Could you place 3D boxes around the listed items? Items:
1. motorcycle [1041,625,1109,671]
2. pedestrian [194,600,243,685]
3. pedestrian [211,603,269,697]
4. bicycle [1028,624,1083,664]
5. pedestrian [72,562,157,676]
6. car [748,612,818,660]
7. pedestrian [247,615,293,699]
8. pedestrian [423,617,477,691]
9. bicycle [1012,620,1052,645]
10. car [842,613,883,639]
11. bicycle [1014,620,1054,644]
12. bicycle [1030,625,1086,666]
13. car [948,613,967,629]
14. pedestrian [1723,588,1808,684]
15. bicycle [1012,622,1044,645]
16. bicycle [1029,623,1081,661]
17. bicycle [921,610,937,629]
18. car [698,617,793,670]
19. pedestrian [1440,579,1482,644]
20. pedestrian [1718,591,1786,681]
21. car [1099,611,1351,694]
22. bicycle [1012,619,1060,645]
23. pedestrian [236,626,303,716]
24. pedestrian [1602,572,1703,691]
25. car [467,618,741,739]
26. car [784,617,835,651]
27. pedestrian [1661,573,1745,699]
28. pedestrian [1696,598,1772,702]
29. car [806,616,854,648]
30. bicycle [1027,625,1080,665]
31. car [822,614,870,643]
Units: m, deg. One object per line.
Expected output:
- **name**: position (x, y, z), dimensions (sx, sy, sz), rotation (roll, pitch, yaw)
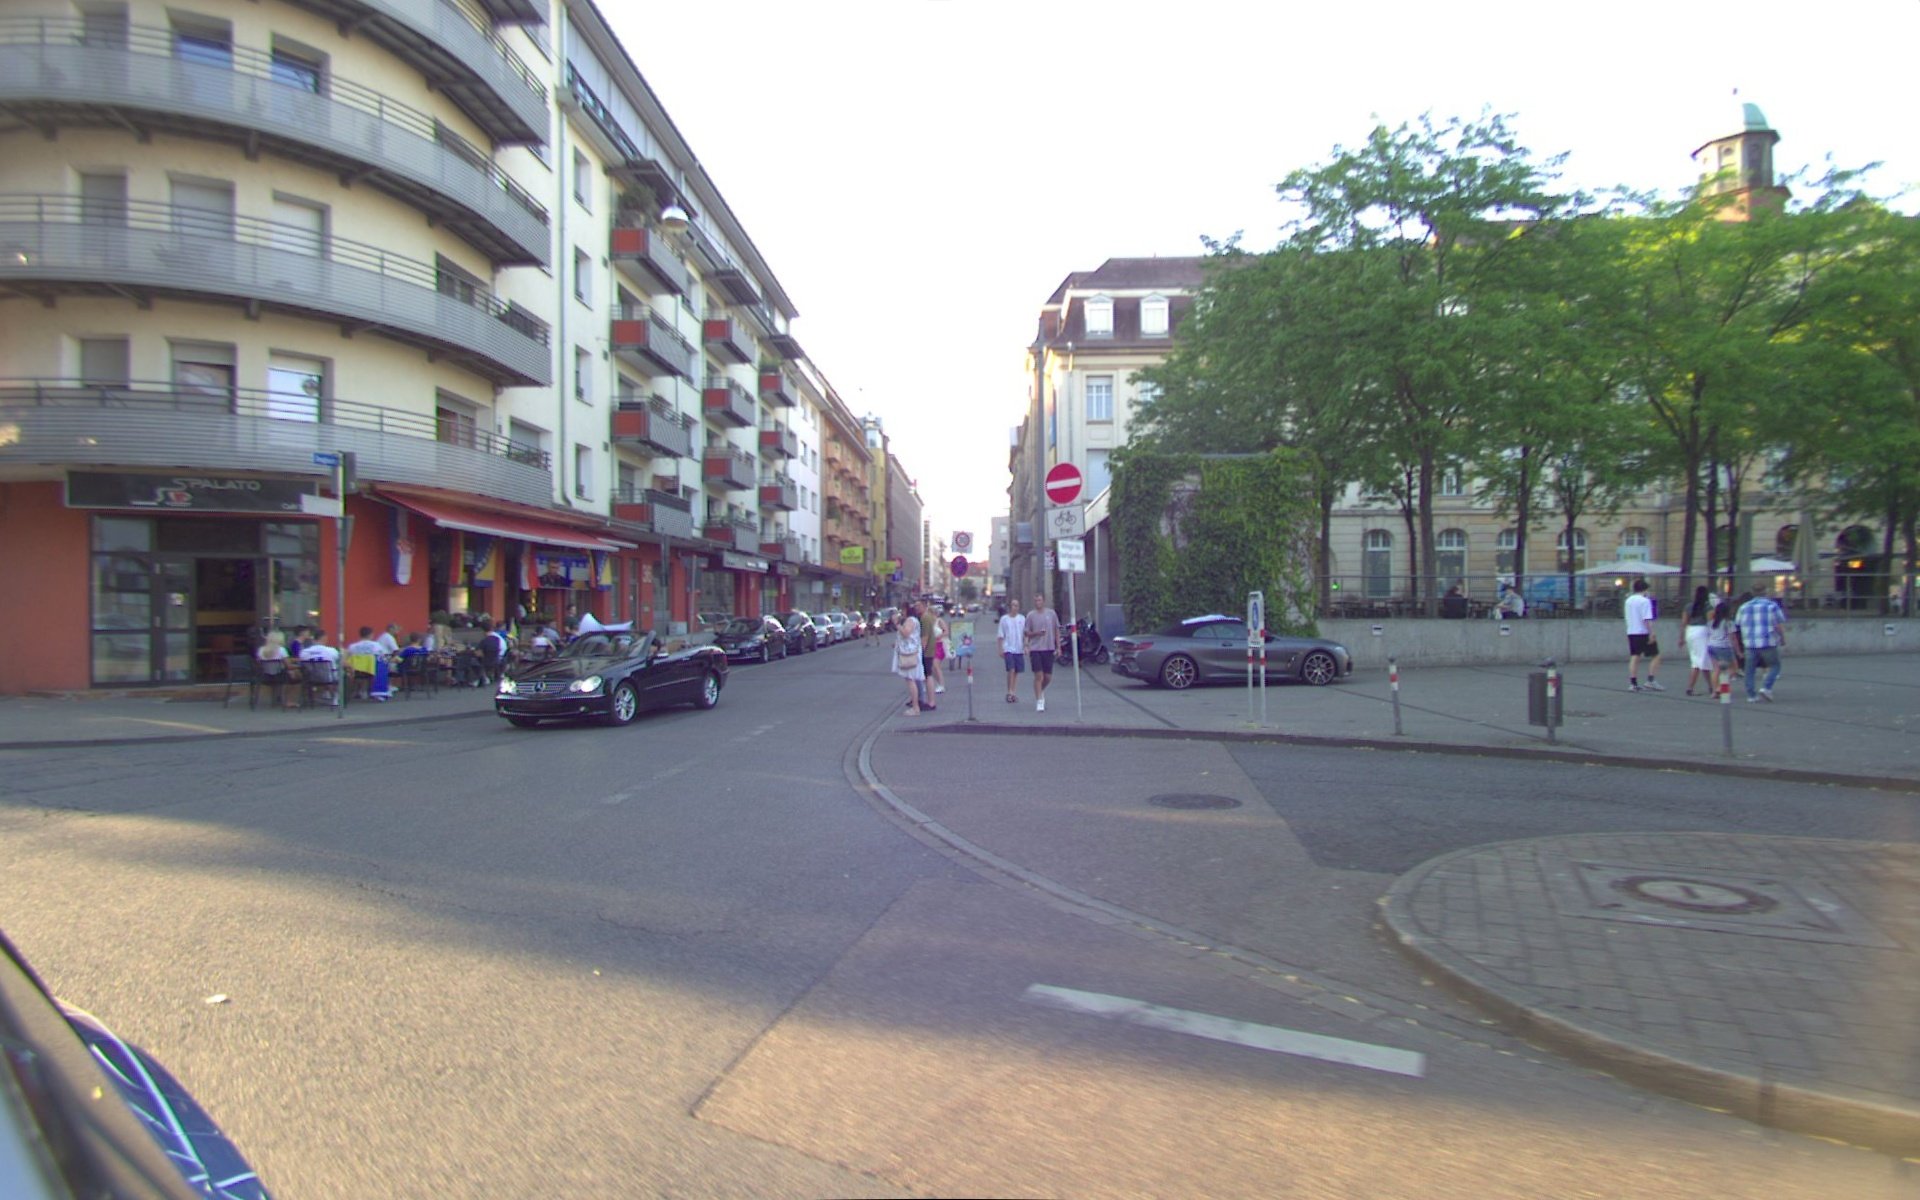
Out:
- **motorcycle**: position (3.068, 1.276, 27.017), dimensions (1.797, 1.135, 0.538), rotation (-1, -1, -29)
- **pedestrian**: position (-15.864, 0.894, 21.666), dimensions (0.603, 1.790, 0.618), rotation (-1, -1, 0)
- **pedestrian**: position (-15.991, 1.095, 22.487), dimensions (0.803, 2.029, 0.669), rotation (-1, -1, 1)
- **bicycle**: position (2.752, 1.261, 29.225), dimensions (1.476, 1.077, 0.442), rotation (-2, -1, -1)
- **pedestrian**: position (-15.392, 0.343, 18.441), dimensions (0.807, 2.029, 0.857), rotation (-1, 0, 17)
- **car**: position (-6.797, 1.346, 39.259), dimensions (1.859, 1.712, 4.135), rotation (-2, -1, 2)
- **pedestrian**: position (-14.936, 1.216, 21.912), dimensions (0.603, 1.790, 0.618), rotation (-1, -1, -6)
- **pedestrian**: position (-10.737, 1.131, 21.316), dimensions (0.759, 1.515, 0.783), rotation (0, -1, 0)
- **bicycle**: position (3.383, 1.518, 47.570), dimensions (1.824, 1.091, 0.353), rotation (-2, -1, 8)
- **car**: position (-6.039, 1.587, 63.015), dimensions (1.874, 1.488, 4.296), rotation (-2, -1, 4)
- **bicycle**: position (3.443, 1.497, 47.114), dimensions (1.824, 1.091, 0.353), rotation (-2, -1, 8)
- **bicycle**: position (2.771, 1.280, 28.727), dimensions (1.476, 1.096, 0.548), rotation (-2, -1, -1)
- **car**: position (-0.311, 2.782, 133.885), dimensions (1.975, 2.029, 3.993), rotation (-1, 0, 6)
- **pedestrian**: position (13.881, 0.617, 17.452), dimensions (0.718, 1.594, 0.801), rotation (-2, -1, -12)
- **bicycle**: position (3.390, 1.683, 50.465), dimensions (1.478, 1.084, 0.313), rotation (-2, -1, -6)
- **bicycle**: position (2.840, 1.252, 30.244), dimensions (1.476, 1.096, 0.411), rotation (-2, -1, -1)
- **bicycle**: position (-2.586, 1.662, 85.259), dimensions (1.026, 1.533, 2.817), rotation (-1, 0, 6)
- **car**: position (-6.943, 1.377, 33.303), dimensions (1.855, 1.564, 4.625), rotation (-2, -1, 4)
- **pedestrian**: position (15.993, 0.367, 32.309), dimensions (0.822, 2.029, 1.064), rotation (-1, 0, 5)
- **pedestrian**: position (14.177, 0.638, 18.124), dimensions (0.583, 1.554, 0.682), rotation (-2, -1, -14)
- **car**: position (5.204, 1.013, 20.319), dimensions (4.383, 1.441, 2.108), rotation (-2, -1, -4)
- **bicycle**: position (3.496, 1.473, 46.744), dimensions (2.157, 1.165, 0.444), rotation (-2, -1, 8)
- **pedestrian**: position (-10.704, 1.074, 15.709), dimensions (0.674, 1.291, 0.971), rotation (0, 1, -23)
- **pedestrian**: position (11.352, 0.511, 16.620), dimensions (0.874, 1.867, 0.988), rotation (-1, -1, -22)
- **car**: position (-5.096, 1.042, 15.288), dimensions (1.792, 1.418, 4.599), rotation (1, 0, 12)
- **car**: position (-6.774, 1.500, 45.827), dimensions (1.728, 1.414, 3.967), rotation (-2, -1, -1)
- **pedestrian**: position (11.565, 0.550, 15.779), dimensions (0.706, 1.889, 0.779), rotation (-2, -1, 9)
- **pedestrian**: position (11.623, 0.741, 15.206), dimensions (0.704, 1.497, 0.606), rotation (-1, -1, -27)
- **car**: position (-6.509, 1.604, 51.189), dimensions (1.745, 1.488, 3.944), rotation (-2, -1, 2)
- **bicycle**: position (2.731, 1.322, 29.623), dimensions (1.476, 1.120, 0.411), rotation (-2, -1, -1)
- **car**: position (-6.200, 1.533, 55.598), dimensions (1.844, 1.488, 4.389), rotation (-2, -1, 4)
